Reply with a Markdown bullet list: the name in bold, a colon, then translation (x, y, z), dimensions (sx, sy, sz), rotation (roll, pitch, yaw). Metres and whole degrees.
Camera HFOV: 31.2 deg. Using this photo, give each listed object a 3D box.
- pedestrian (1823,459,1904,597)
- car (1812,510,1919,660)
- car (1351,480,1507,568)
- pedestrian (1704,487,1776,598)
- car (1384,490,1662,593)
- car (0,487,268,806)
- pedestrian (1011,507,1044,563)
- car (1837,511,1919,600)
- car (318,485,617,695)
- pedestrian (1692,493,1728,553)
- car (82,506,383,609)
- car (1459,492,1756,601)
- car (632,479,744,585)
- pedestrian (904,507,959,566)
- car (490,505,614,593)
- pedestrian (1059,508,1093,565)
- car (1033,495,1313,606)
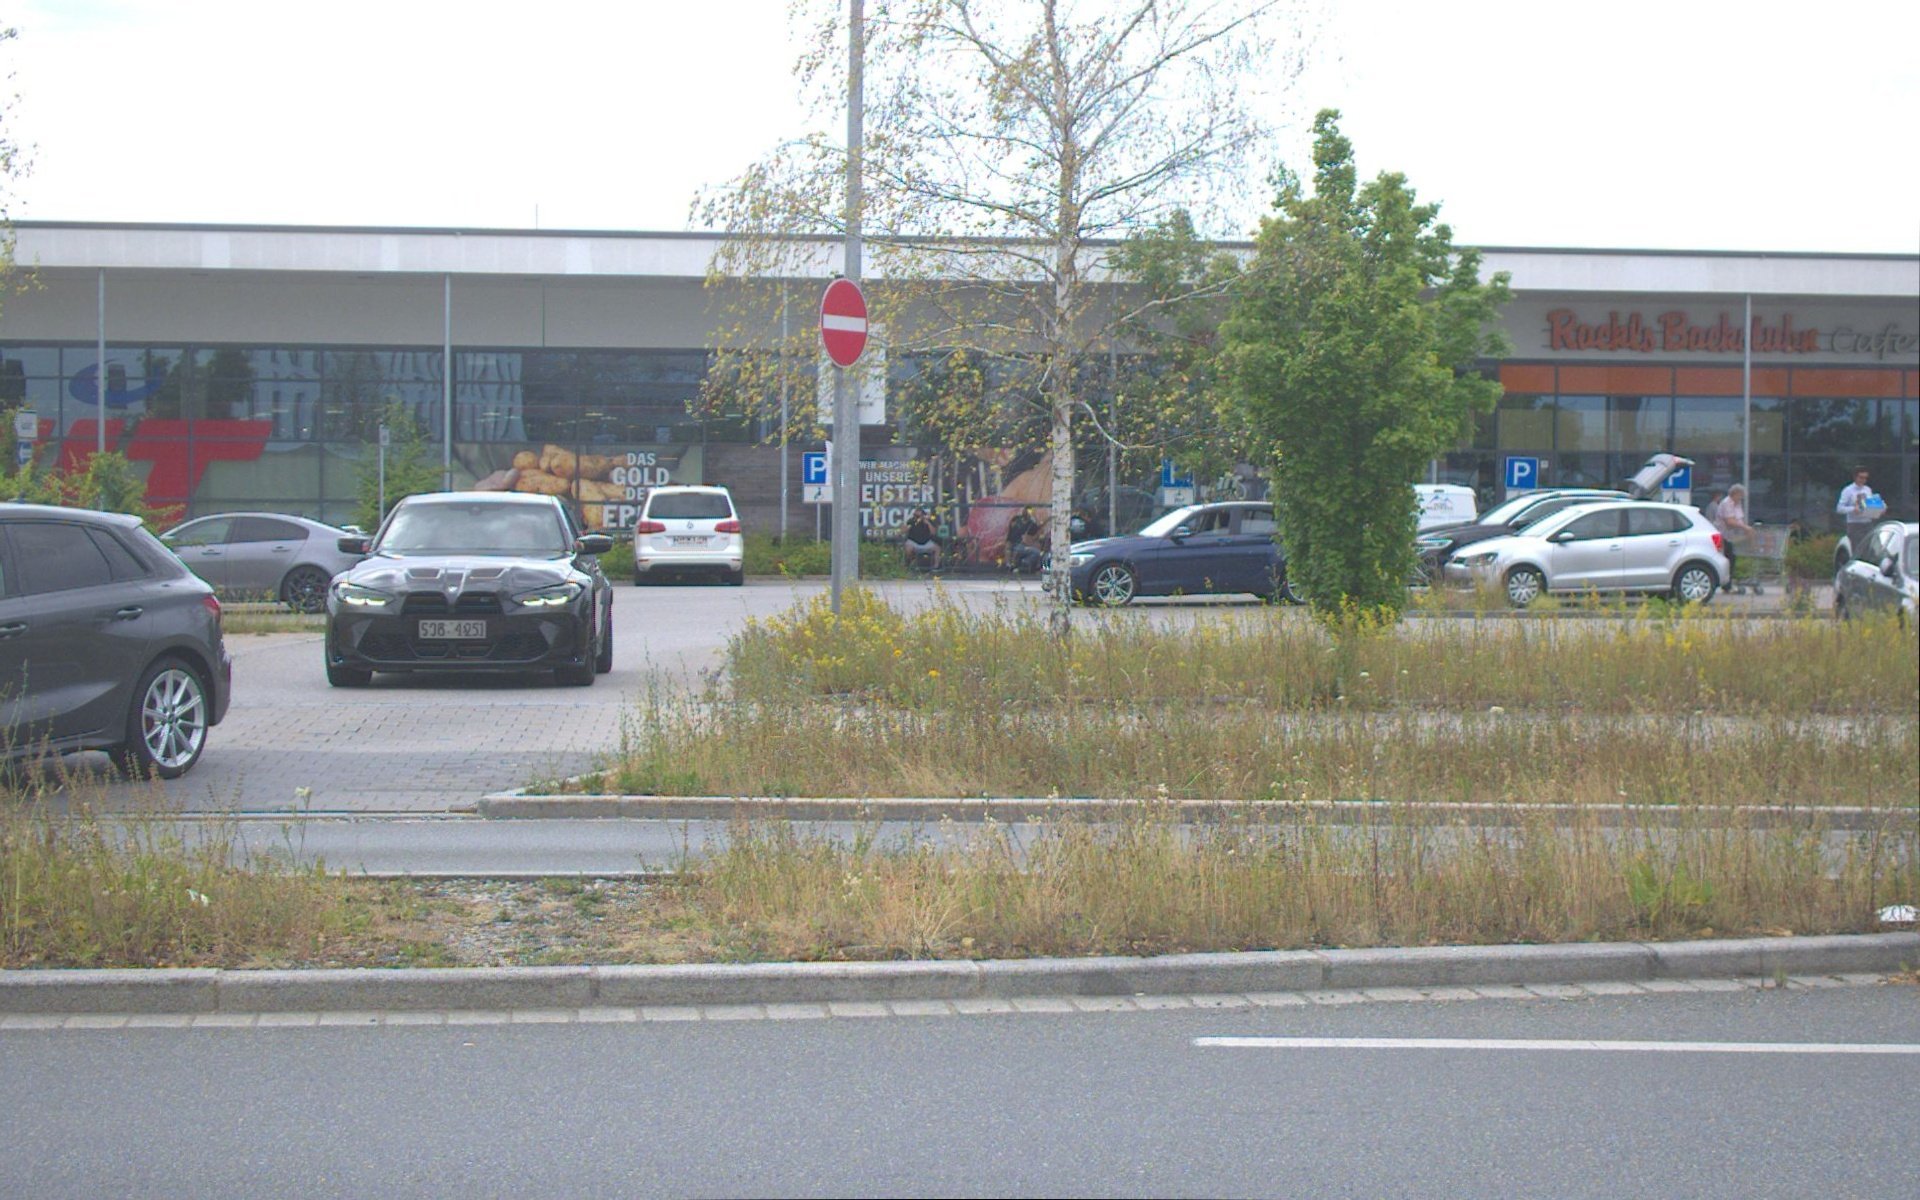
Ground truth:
- **pedestrian**: translation (13.366, -1.070, 50.878), dimensions (0.865, 2.006, 1.004), rotation (1, 2, -1)
- **car**: translation (9.795, -0.172, 33.628), dimensions (1.989, 1.379, 4.150), rotation (1, 1, 2)
- **car**: translation (8.355, -1.379, 61.578), dimensions (1.993, 1.503, 4.001), rotation (0, 2, -4)
- **pedestrian**: translation (11.612, -0.864, 51.205), dimensions (0.821, 1.626, 0.899), rotation (1, 1, -1)
- **car**: translation (8.347, -0.879, 51.113), dimensions (3.746, 1.449, 1.668), rotation (1, 2, -6)
- **car**: translation (-5.303, 0.206, 16.436), dimensions (1.794, 1.461, 4.316), rotation (2, 2, 23)
- **pedestrian**: translation (1.366, -1.310, 69.495), dimensions (0.576, 1.120, 0.562), rotation (0, 2, -9)
- **car**: translation (17.576, -0.820, 62.518), dimensions (1.993, 1.503, 4.001), rotation (1, 2, -4)
- **car**: translation (-3.640, -0.133, 26.116), dimensions (1.779, 1.440, 4.611), rotation (1, 2, -2)
- **pedestrian**: translation (15.107, -1.557, 69.251), dimensions (0.560, 1.197, 0.528), rotation (0, 2, -6)
- **car**: translation (-10.176, -0.608, 48.345), dimensions (3.986, 1.347, 2.001), rotation (1, 1, -8)
- **car**: translation (9.063, -0.765, 48.287), dimensions (3.746, 1.449, 1.668), rotation (1, 2, -6)
- **car**: translation (-4.708, -1.216, 59.943), dimensions (1.824, 1.694, 4.235), rotation (1, 3, -3)
- **pedestrian**: translation (-0.576, -1.289, 69.693), dimensions (0.970, 1.150, 1.133), rotation (0, 2, -7)
- **car**: translation (-7.064, -0.915, 59.872), dimensions (1.906, 1.439, 4.001), rotation (0, 2, -3)
- **pedestrian**: translation (2.315, -1.268, 68.588), dimensions (0.576, 1.120, 0.562), rotation (0, 2, -9)
- **car**: translation (2.911, -0.689, 47.426), dimensions (3.606, 1.449, 1.668), rotation (1, 2, -7)
